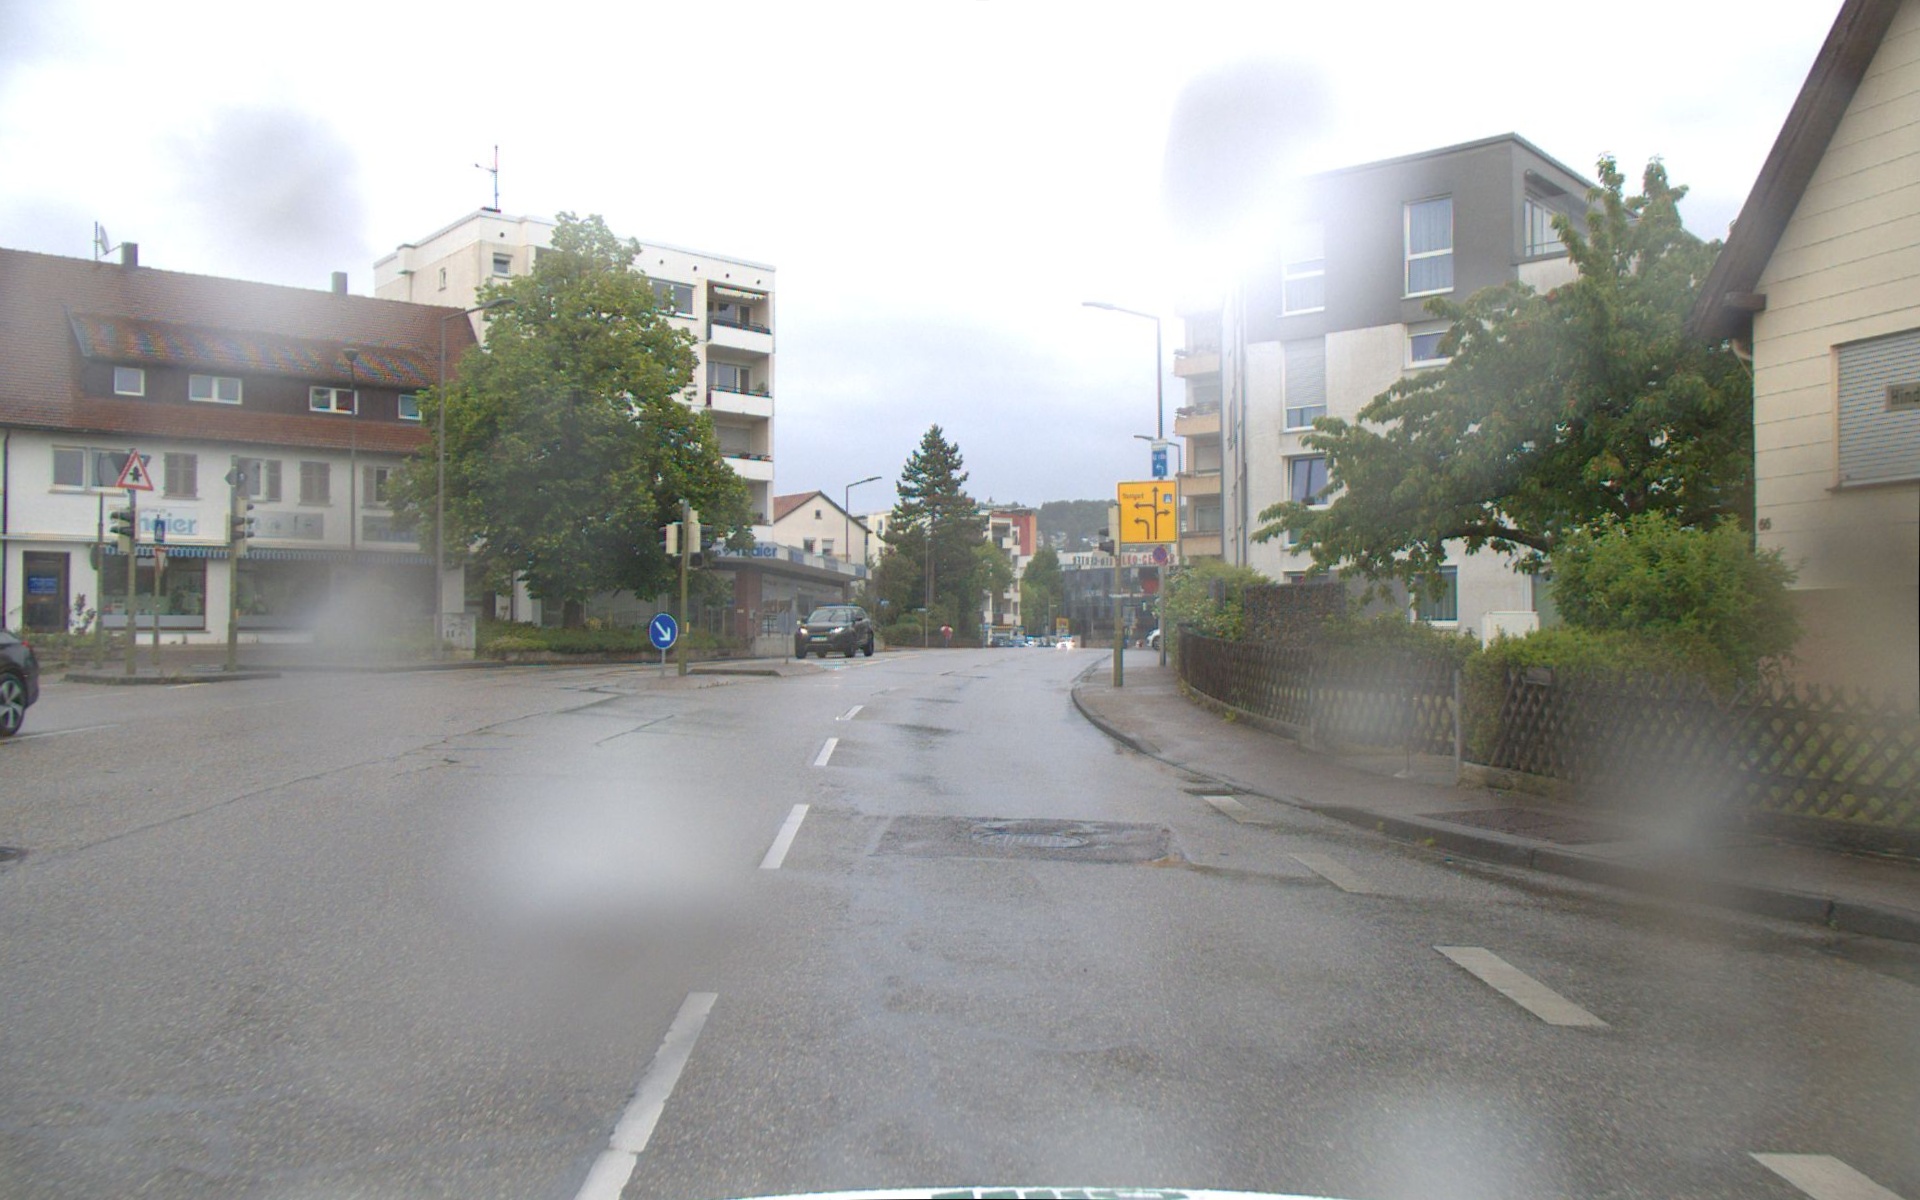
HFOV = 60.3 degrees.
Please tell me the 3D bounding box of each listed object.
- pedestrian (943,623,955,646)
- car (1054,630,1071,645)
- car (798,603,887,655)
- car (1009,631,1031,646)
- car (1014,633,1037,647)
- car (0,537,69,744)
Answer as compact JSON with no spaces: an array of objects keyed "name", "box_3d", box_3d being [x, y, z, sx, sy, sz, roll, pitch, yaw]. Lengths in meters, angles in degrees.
[{"name":"pedestrian","box_3d":[-0.804,2.541,122.132,0.851,1.635,1.103,0,-3,1]},{"name":"car","box_3d":[11.014,4.064,178.084,1.662,1.433,4.002,-3,-1,5]},{"name":"car","box_3d":[-3.732,0.903,53.231,1.764,1.584,4.322,0,0,11]},{"name":"car","box_3d":[5.994,3.862,165.067,1.616,1.548,4.327,0,-2,10]},{"name":"car","box_3d":[6.775,4.128,170.764,1.657,1.490,4.687,0,-2,10]},{"name":"car","box_3d":[-10.411,0.399,15.369,1.954,2.049,4.648,0,0,-4]}]
